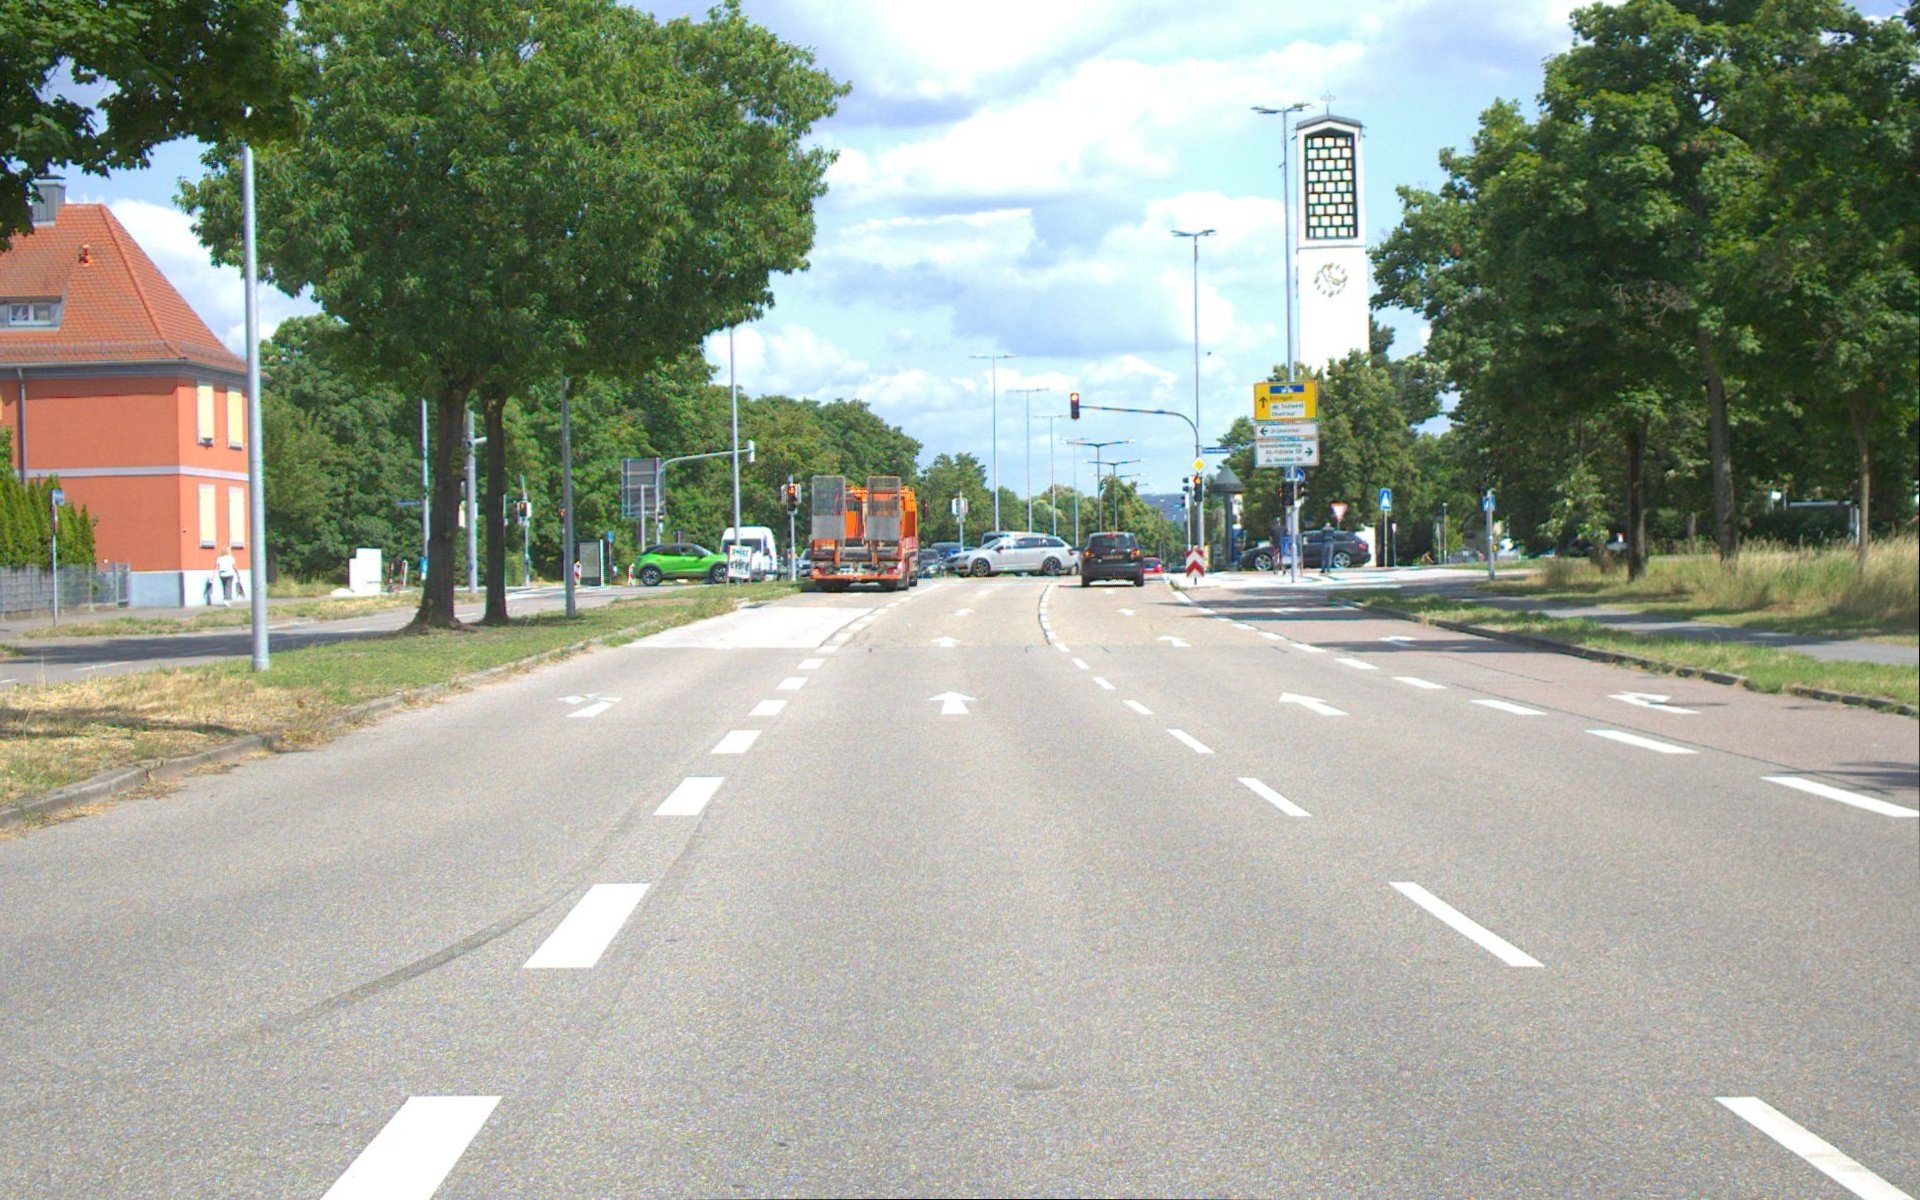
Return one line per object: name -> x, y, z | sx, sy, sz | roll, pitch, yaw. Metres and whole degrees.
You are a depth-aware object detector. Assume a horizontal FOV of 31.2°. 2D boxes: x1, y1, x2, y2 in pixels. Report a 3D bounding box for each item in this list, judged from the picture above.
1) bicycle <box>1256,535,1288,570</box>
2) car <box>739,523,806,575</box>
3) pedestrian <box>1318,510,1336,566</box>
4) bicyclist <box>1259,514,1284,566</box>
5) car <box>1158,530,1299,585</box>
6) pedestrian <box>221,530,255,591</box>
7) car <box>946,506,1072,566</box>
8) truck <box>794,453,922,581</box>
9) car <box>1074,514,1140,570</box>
bicycle -> 10.161, -1.540, 111.857 | 0.648, 1.104, 1.926 | 1, 0, 17
car -> -6.058, -1.635, 111.504 | 1.732, 1.503, 4.652 | -4, 0, 1
pedestrian -> 11.736, -1.981, 109.955 | 0.465, 1.772, 0.482 | 1, 0, 13
bicyclist -> 10.113, -1.950, 111.669 | 0.648, 1.656, 0.649 | 1, 0, 17
car -> 7.414, -1.169, 94.939 | 3.571, 1.437, 1.476 | 1, 0, -16
pedestrian -> -19.127, -1.045, 91.070 | 0.696, 1.578, 0.851 | 1, 0, 1
car -> 1.729, -2.260, 121.975 | 3.986, 2.007, 2.001 | 1, 0, -20
truck -> -2.836, -2.296, 99.261 | 3.071, 3.402, 11.068 | 1, 0, 1
car -> 4.248, -1.657, 99.690 | 1.799, 1.547, 4.000 | 1, 0, 1
